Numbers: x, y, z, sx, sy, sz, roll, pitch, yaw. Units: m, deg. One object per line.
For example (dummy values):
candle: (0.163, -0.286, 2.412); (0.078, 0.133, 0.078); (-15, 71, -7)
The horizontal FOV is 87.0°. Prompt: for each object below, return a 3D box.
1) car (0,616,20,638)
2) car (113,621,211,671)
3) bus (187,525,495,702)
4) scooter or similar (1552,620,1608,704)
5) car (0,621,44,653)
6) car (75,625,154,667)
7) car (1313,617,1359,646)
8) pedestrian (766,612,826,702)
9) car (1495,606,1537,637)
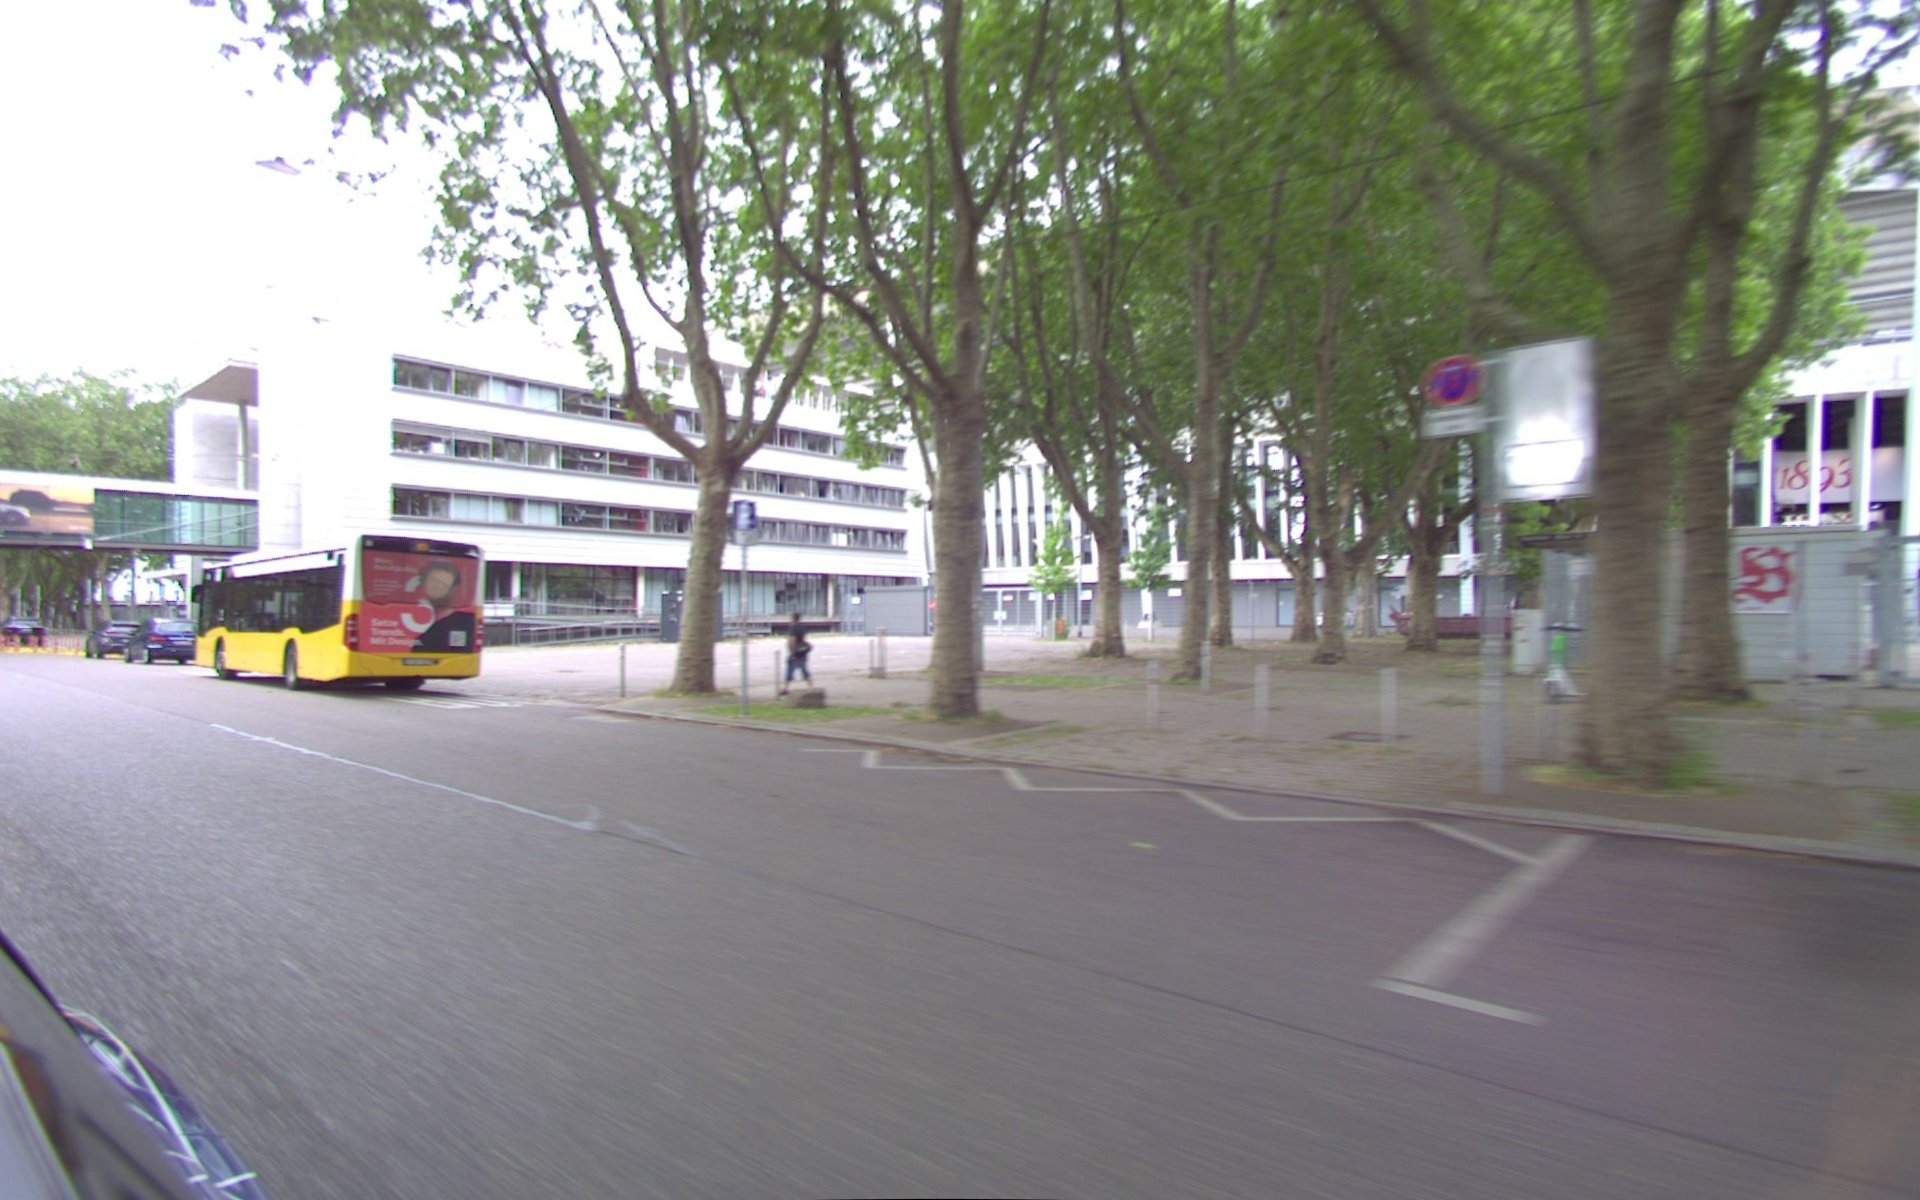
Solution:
car: (-69.908, 1.949, 73.697); (3.801, 1.480, 1.640); (-1, -5, 41)
car: (-27.803, 1.587, 35.216); (4.383, 1.578, 1.736); (-1, -5, 40)
bus: (-14.732, 0.374, 23.299); (12.367, 3.179, 2.622); (-1, -4, 43)
scooter or similar: (9.370, 0.913, 15.283); (1.169, 1.182, 0.445); (-1, 0, -44)
car: (-55.714, 2.171, 59.712); (4.231, 1.744, 1.904); (-1, -5, 41)
car: (-34.222, 1.843, 40.925); (4.007, 1.525, 1.735); (-1, -5, 41)
car: (23.020, 1.899, 61.890); (1.992, 1.674, 3.959); (-1, -1, 30)
pedestrian: (-3.032, 1.032, 18.697); (0.912, 1.601, 0.655); (-1, 0, 41)
car: (31.223, 1.213, 56.815); (1.992, 1.674, 3.959); (-1, -1, 30)
